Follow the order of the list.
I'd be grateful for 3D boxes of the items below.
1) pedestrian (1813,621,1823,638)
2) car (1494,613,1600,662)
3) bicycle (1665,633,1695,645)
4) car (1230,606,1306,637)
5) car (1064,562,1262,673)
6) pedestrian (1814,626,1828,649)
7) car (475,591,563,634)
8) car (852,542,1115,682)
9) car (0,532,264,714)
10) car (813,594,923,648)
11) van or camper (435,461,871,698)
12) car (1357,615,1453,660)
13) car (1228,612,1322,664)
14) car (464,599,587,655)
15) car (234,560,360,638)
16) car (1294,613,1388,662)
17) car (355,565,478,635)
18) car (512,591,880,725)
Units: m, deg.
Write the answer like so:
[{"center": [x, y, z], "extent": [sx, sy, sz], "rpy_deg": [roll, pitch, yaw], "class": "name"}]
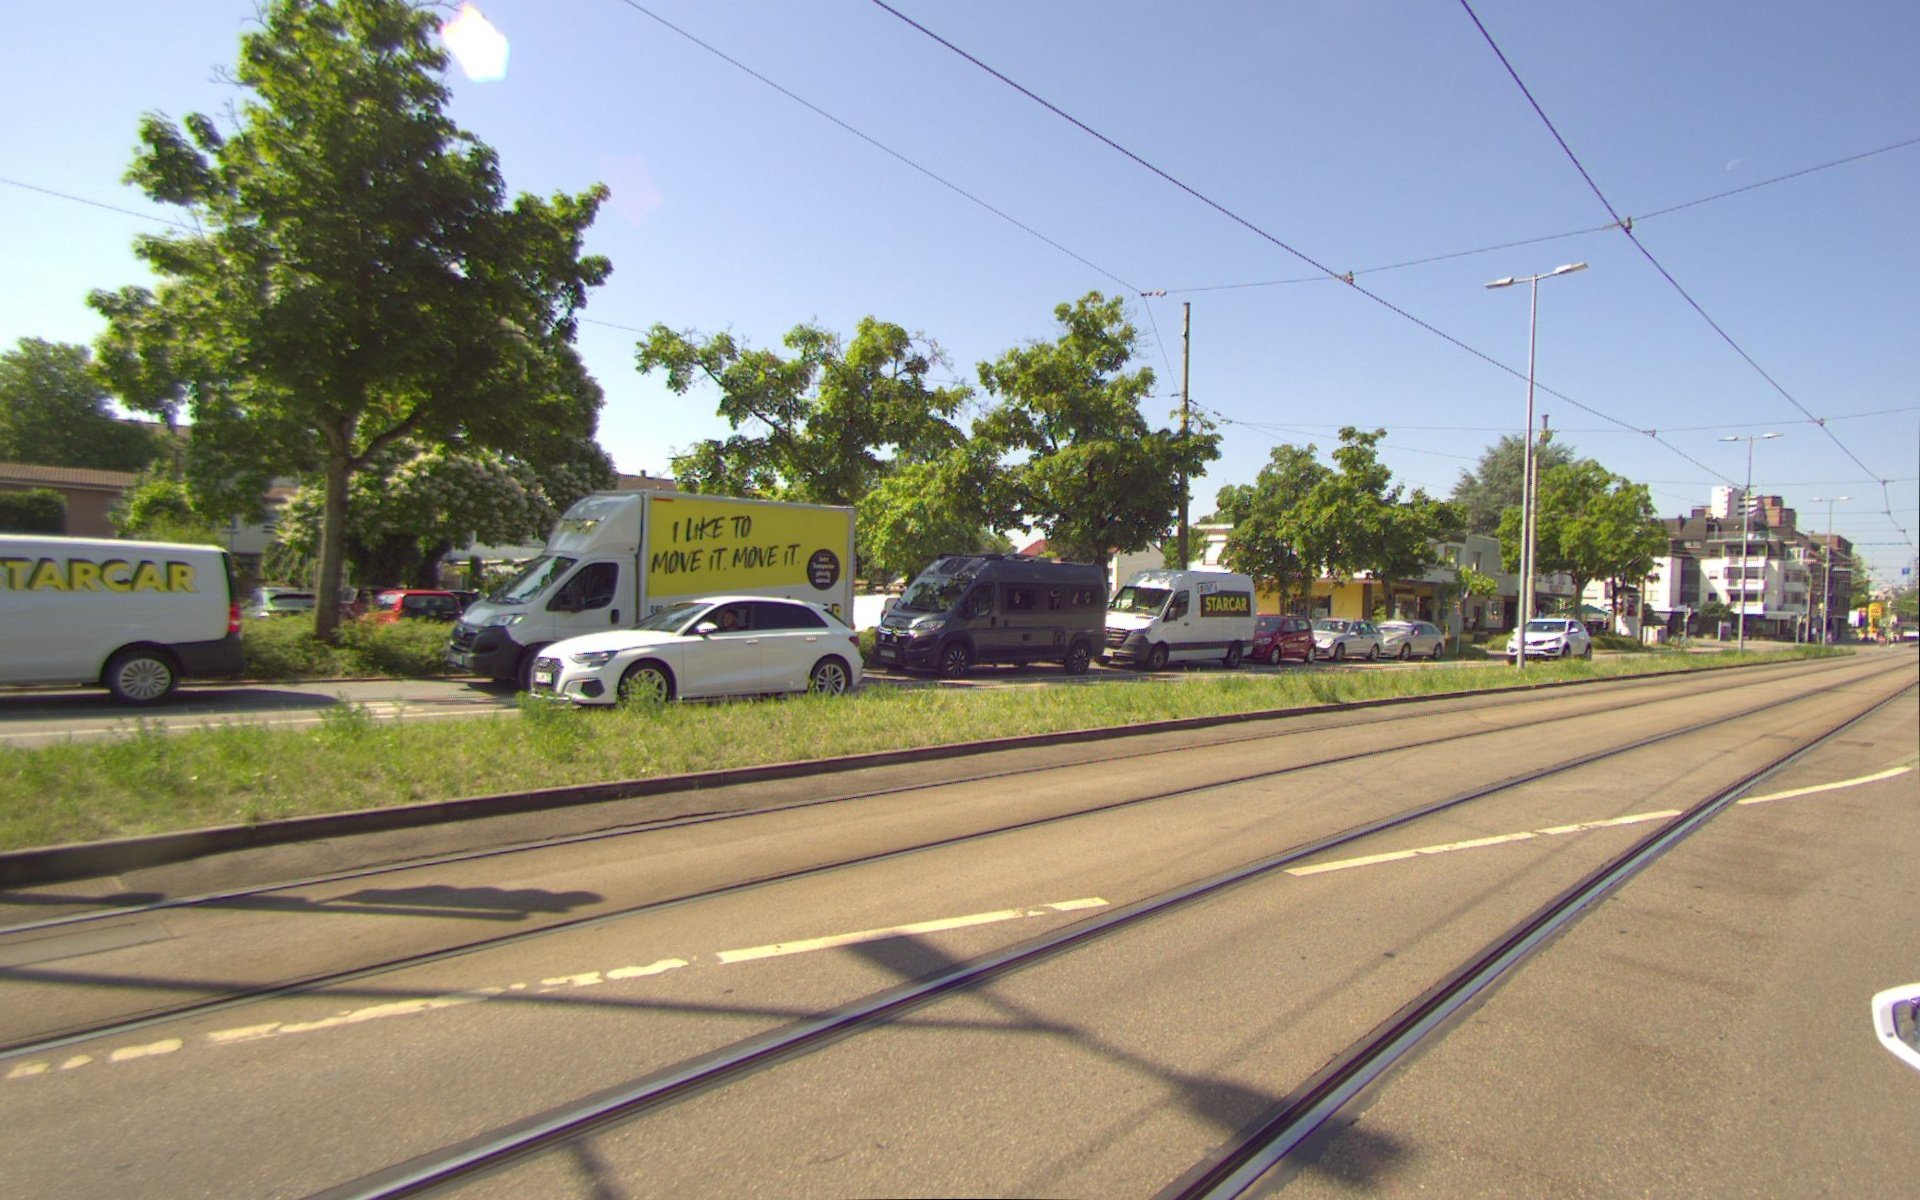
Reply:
[{"center": [109.995, 3.773, 128.791], "extent": [0.926, 2.040, 0.985], "rpy_deg": [1, 0, 41], "class": "pedestrian"}, {"center": [20.883, 1.310, 35.660], "extent": [4.627, 1.618, 2.024], "rpy_deg": [1, -2, -43], "class": "car"}, {"center": [60.491, 3.292, 84.377], "extent": [2.134, 0.934, 0.553], "rpy_deg": [1, 0, 0], "class": "bicycle"}, {"center": [18.635, 1.299, 60.825], "extent": [1.685, 1.758, 4.109], "rpy_deg": [2, 0, -42], "class": "car"}, {"center": [5.640, 0.444, 27.262], "extent": [5.937, 2.666, 2.174], "rpy_deg": [1, 2, -44], "class": "car"}, {"center": [67.522, 2.900, 78.771], "extent": [0.816, 1.762, 0.928], "rpy_deg": [1, 0, 39], "class": "pedestrian"}, {"center": [-17.202, 0.466, 39.109], "extent": [3.944, 1.565, 1.775], "rpy_deg": [1, 0, 44], "class": "car"}, {"center": [0.692, 0.242, 22.410], "extent": [6.037, 2.704, 2.174], "rpy_deg": [1, 2, -44], "class": "car"}, {"center": [-11.245, 0.199, 11.490], "extent": [5.147, 1.967, 2.175], "rpy_deg": [2, 2, -43], "class": "car"}, {"center": [-3.210, 0.698, 34.522], "extent": [1.652, 1.717, 3.948], "rpy_deg": [2, -1, -43], "class": "car"}, {"center": [-4.895, -0.272, 17.012], "extent": [6.722, 3.285, 2.175], "rpy_deg": [1, 2, -43], "class": "van or camper"}, {"center": [16.991, 1.398, 38.258], "extent": [4.583, 1.510, 1.589], "rpy_deg": [1, 2, -42], "class": "car"}, {"center": [9.851, 1.161, 31.258], "extent": [1.278, 1.510, 3.654], "rpy_deg": [1, -1, 44], "class": "car"}, {"center": [-11.235, 0.662, 25.877], "extent": [1.652, 1.287, 3.948], "rpy_deg": [2, -1, -43], "class": "car"}, {"center": [-14.676, -0.006, 22.149], "extent": [1.652, 1.564, 3.948], "rpy_deg": [2, -1, -43], "class": "car"}, {"center": [13.209, 1.269, 34.695], "extent": [4.321, 1.510, 1.279], "rpy_deg": [1, 2, -44], "class": "car"}, {"center": [-13.281, 0.010, 24.461], "extent": [1.652, 1.564, 3.948], "rpy_deg": [2, -1, -43], "class": "car"}, {"center": [-3.267, 0.673, 13.028], "extent": [4.306, 1.441, 1.774], "rpy_deg": [2, -1, -44], "class": "car"}]
